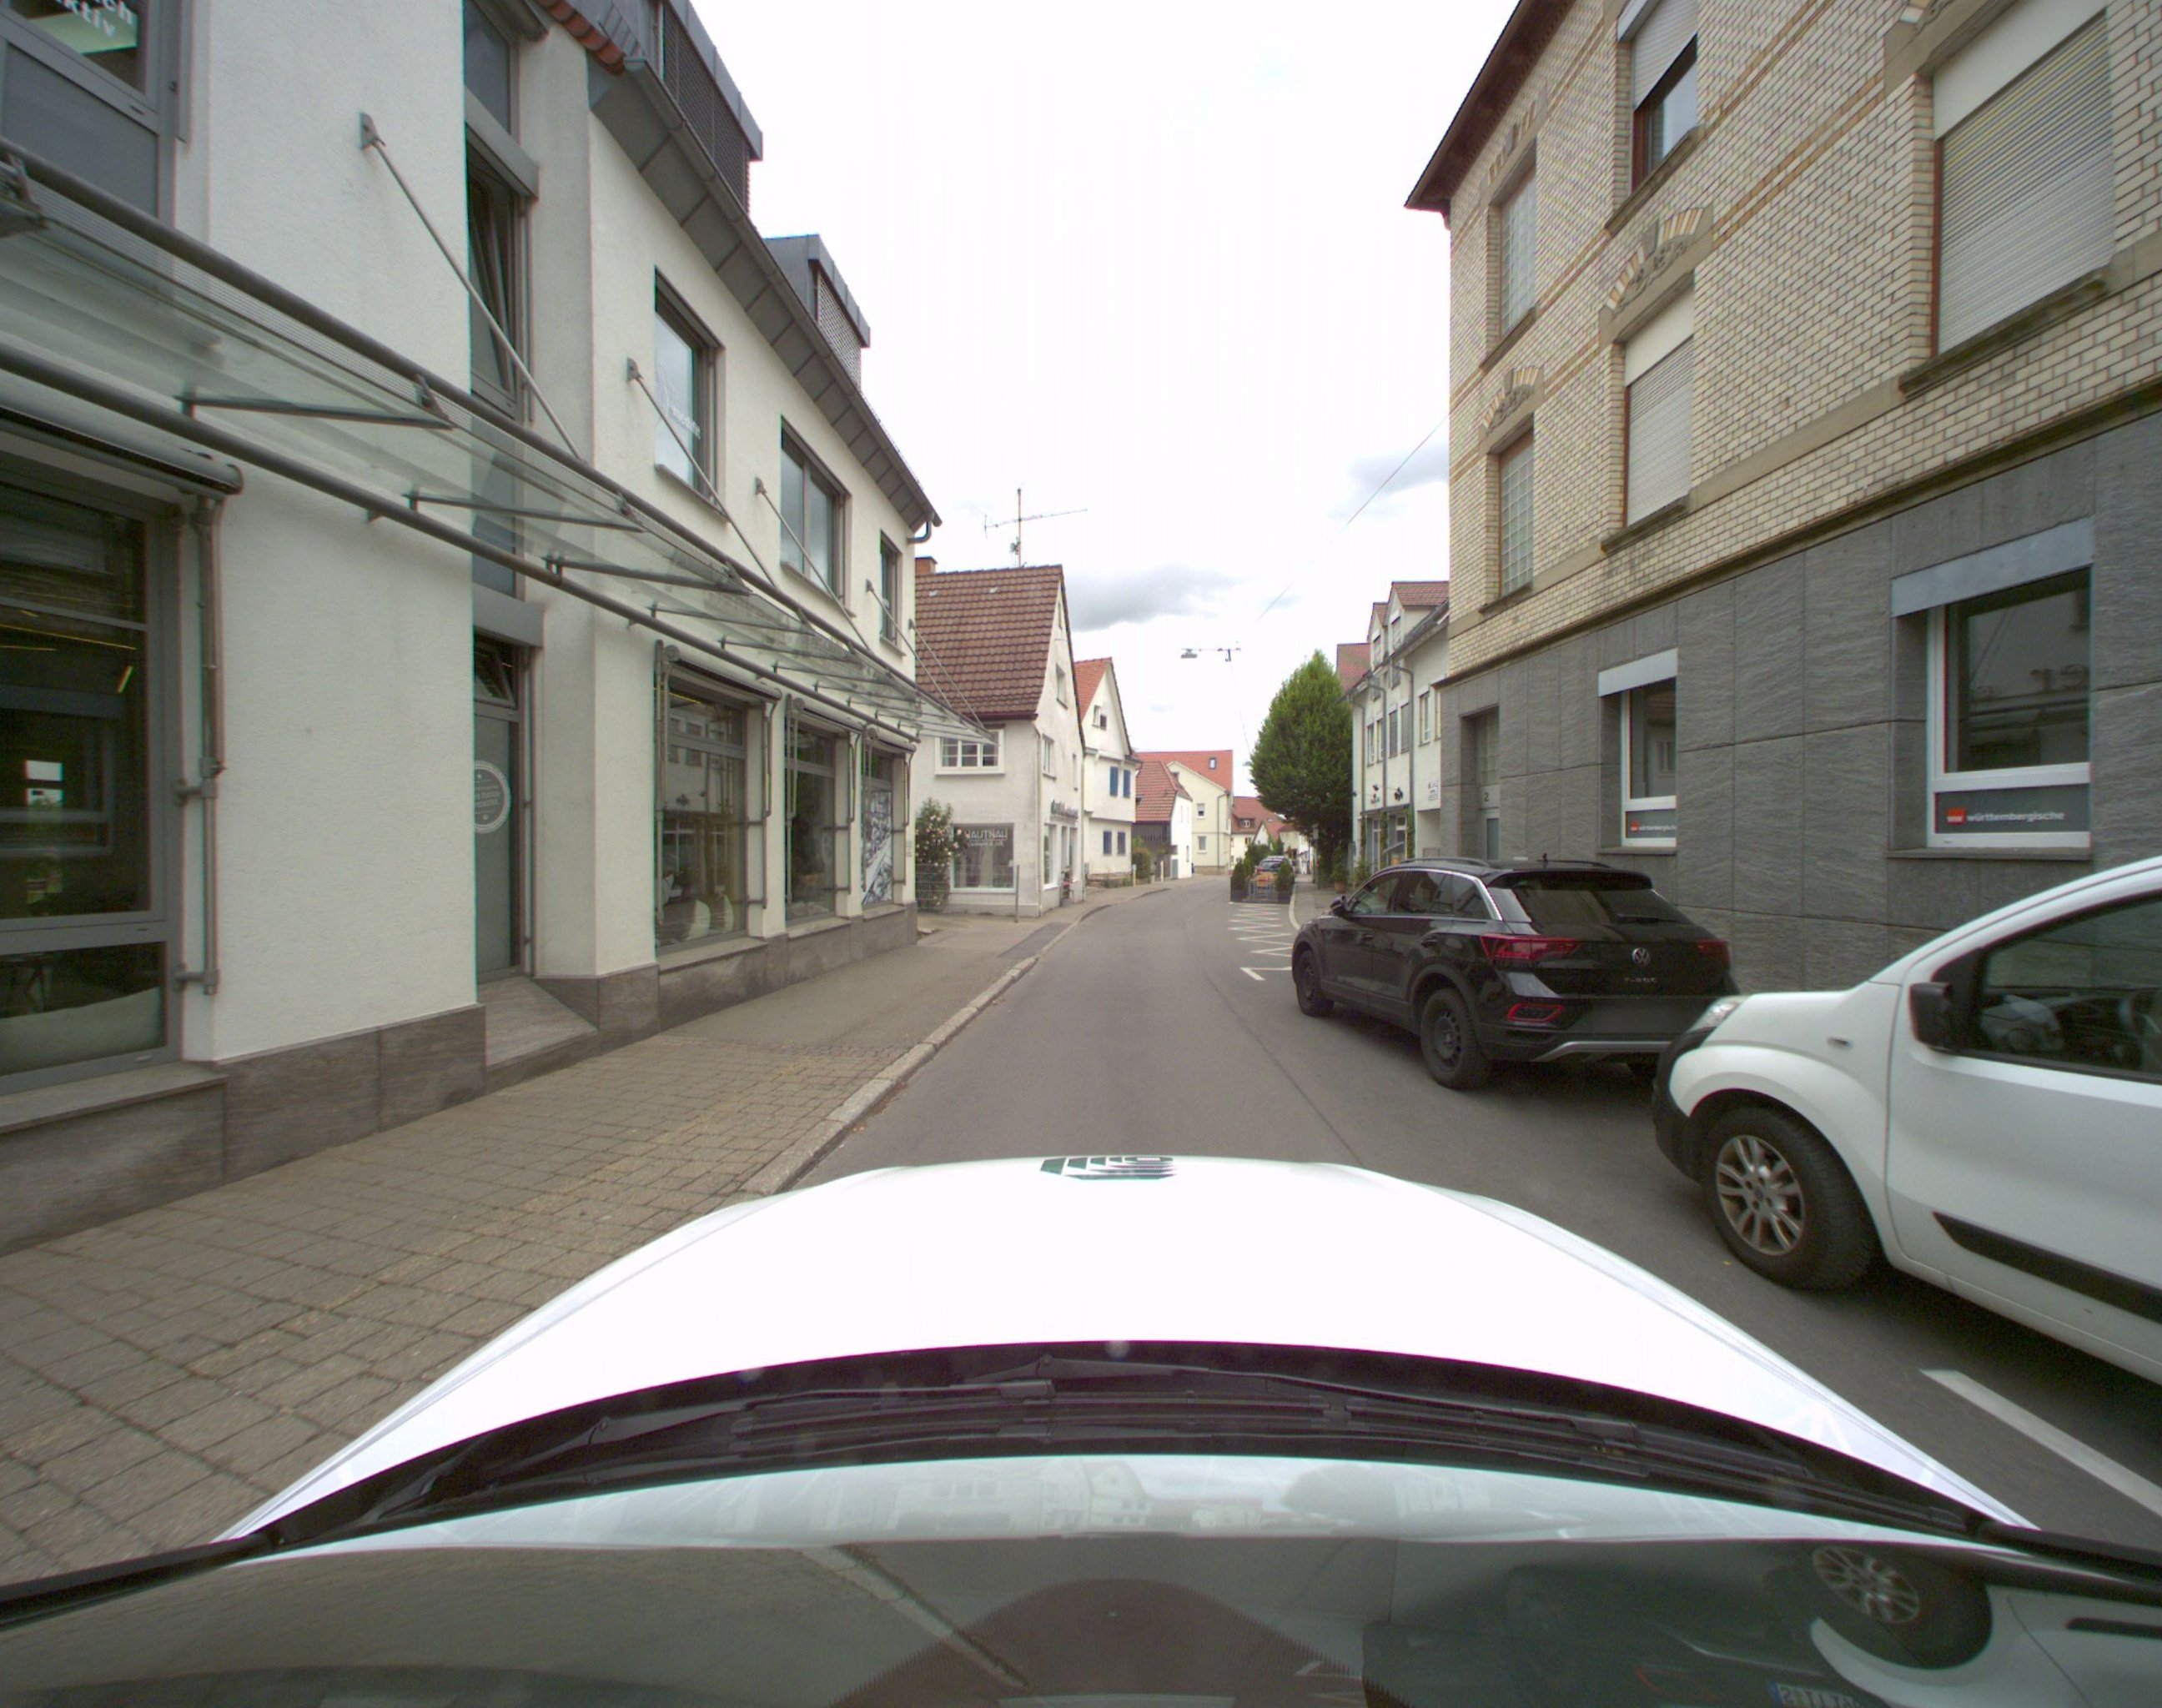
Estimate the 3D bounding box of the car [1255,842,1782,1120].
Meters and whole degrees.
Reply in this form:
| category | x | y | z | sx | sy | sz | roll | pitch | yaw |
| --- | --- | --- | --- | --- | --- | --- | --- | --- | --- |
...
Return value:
| category | x | y | z | sx | sy | sz | roll | pitch | yaw |
| --- | --- | --- | --- | --- | --- | --- | --- | --- | --- |
| car | 3.102 | 0.739 | 7.057 | 1.786 | 1.600 | 4.532 | 1 | 0 | -6 |

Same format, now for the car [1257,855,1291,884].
| category | x | y | z | sx | sy | sz | roll | pitch | yaw |
| --- | --- | --- | --- | --- | --- | --- | --- | --- | --- |
| car | 11.493 | 0.895 | 48.288 | 1.849 | 1.633 | 4.920 | 0 | -1 | 14 |

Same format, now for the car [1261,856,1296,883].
| category | x | y | z | sx | sy | sz | roll | pitch | yaw |
| --- | --- | --- | --- | --- | --- | --- | --- | --- | --- |
| car | 13.154 | 0.993 | 53.921 | 1.978 | 1.615 | 4.899 | 1 | 0 | 16 |

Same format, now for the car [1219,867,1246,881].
| category | x | y | z | sx | sy | sz | roll | pitch | yaw |
| --- | --- | --- | --- | --- | --- | --- | --- | --- | --- |
| car | 21.825 | 2.887 | 117.643 | 2.001 | 1.684 | 3.972 | -5 | -2 | -20 |

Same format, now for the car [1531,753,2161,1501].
| category | x | y | z | sx | sy | sz | roll | pitch | yaw |
| --- | --- | --- | --- | --- | --- | --- | --- | --- | --- |
| car | 3.480 | 0.659 | 2.210 | 1.824 | 1.792 | 4.208 | 1 | 1 | -7 |

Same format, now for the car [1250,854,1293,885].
| category | x | y | z | sx | sy | sz | roll | pitch | yaw |
| --- | --- | --- | --- | --- | --- | --- | --- | --- | --- |
| car | 9.968 | 0.763 | 42.480 | 1.933 | 1.508 | 4.840 | 1 | 0 | 16 |
